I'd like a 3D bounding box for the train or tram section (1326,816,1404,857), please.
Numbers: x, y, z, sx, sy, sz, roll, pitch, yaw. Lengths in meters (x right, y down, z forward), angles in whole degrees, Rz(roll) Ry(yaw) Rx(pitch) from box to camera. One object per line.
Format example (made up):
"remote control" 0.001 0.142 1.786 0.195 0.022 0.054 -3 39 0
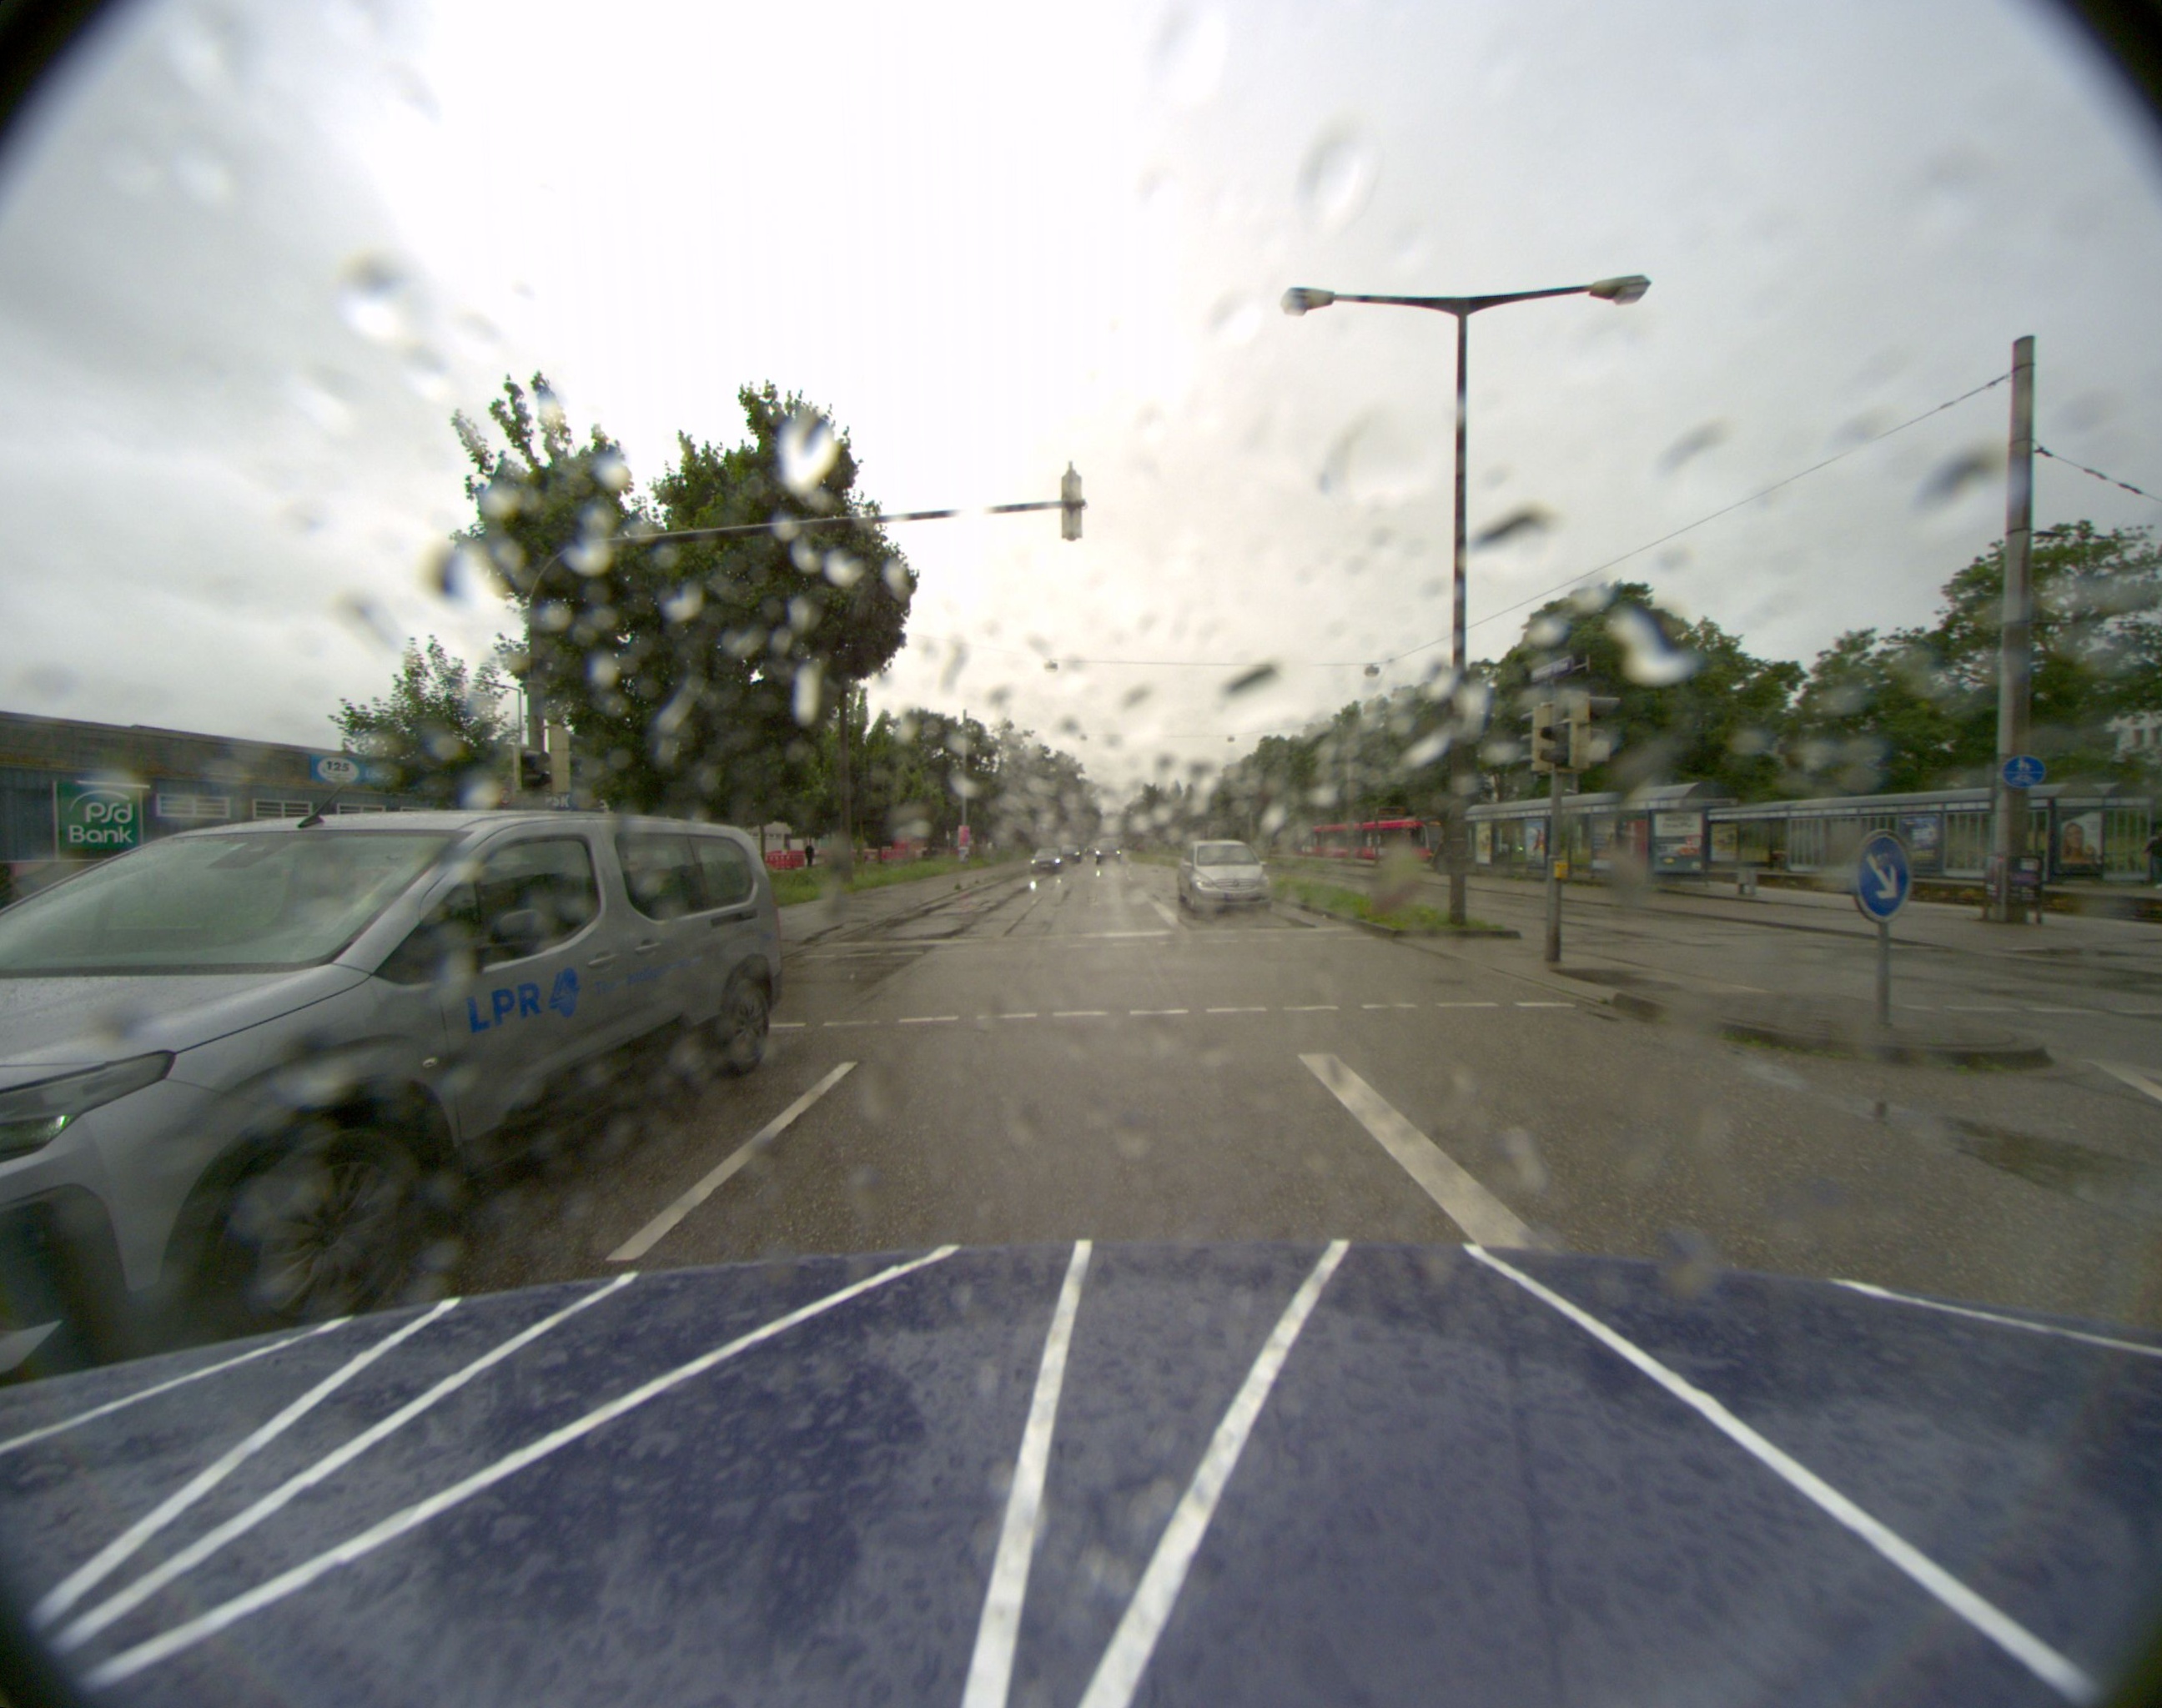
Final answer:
"train or tram section" 25.402 -1.551 68.724 3.541 3.381 10.260 0 1 2

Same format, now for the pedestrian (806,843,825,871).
"pedestrian" -18.933 0.188 54.136 0.814 1.925 1.212 -2 2 1

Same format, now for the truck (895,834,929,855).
"truck" -24.711 -1.483 111.587 2.811 2.883 8.748 -2 2 1

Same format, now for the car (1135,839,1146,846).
"car" 11.144 -2.166 141.579 1.684 1.353 4.250 1 1 0

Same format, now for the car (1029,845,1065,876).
"car" -1.951 0.353 45.224 1.858 1.583 3.999 -2 2 1

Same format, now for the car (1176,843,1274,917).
"car" 3.320 0.523 18.215 1.740 1.535 4.013 -1 1 3

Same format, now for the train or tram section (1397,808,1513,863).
"train or tram section" 24.765 -1.224 51.064 3.541 3.370 9.277 0 1 2

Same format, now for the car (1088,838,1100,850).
"car" 1.908 -1.514 111.090 1.726 1.643 3.999 -2 2 1

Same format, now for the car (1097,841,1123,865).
"car" 2.212 -0.107 58.307 1.812 1.683 3.776 -2 2 2

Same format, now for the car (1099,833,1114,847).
"car" 3.248 -1.793 97.249 1.898 1.602 3.999 -2 2 2

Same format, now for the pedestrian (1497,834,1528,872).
"pedestrian" 18.123 -0.045 31.963 0.806 1.588 0.929 -1 2 4

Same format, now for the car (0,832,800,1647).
"car" -3.344 0.823 3.832 1.998 1.785 4.561 -2 1 1

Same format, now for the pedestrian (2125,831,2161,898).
"pedestrian" 29.272 0.263 20.728 0.631 1.783 0.681 -2 2 1

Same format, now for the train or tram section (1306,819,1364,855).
"train or tram section" 25.716 -1.713 77.317 3.541 3.393 7.902 0 1 2

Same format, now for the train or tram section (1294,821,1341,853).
"train or tram section" 25.932 -1.835 83.583 3.541 3.398 5.769 0 1 2

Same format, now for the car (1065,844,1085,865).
"car" -0.517 0.010 64.550 1.651 1.652 3.775 -2 2 -1

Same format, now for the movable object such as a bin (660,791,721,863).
"movable object such as a bin" -25.242 -1.748 49.292 1.557 4.401 3.908 -2 2 3

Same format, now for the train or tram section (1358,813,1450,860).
"train or tram section" 25.087 -1.380 59.636 3.541 3.371 9.277 0 1 2

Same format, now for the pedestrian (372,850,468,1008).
"pedestrian" -7.508 0.816 8.669 0.670 1.669 0.787 2 2 -32

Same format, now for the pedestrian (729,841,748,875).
"pedestrian" -19.367 0.225 42.945 0.580 1.886 0.876 -2 2 1
